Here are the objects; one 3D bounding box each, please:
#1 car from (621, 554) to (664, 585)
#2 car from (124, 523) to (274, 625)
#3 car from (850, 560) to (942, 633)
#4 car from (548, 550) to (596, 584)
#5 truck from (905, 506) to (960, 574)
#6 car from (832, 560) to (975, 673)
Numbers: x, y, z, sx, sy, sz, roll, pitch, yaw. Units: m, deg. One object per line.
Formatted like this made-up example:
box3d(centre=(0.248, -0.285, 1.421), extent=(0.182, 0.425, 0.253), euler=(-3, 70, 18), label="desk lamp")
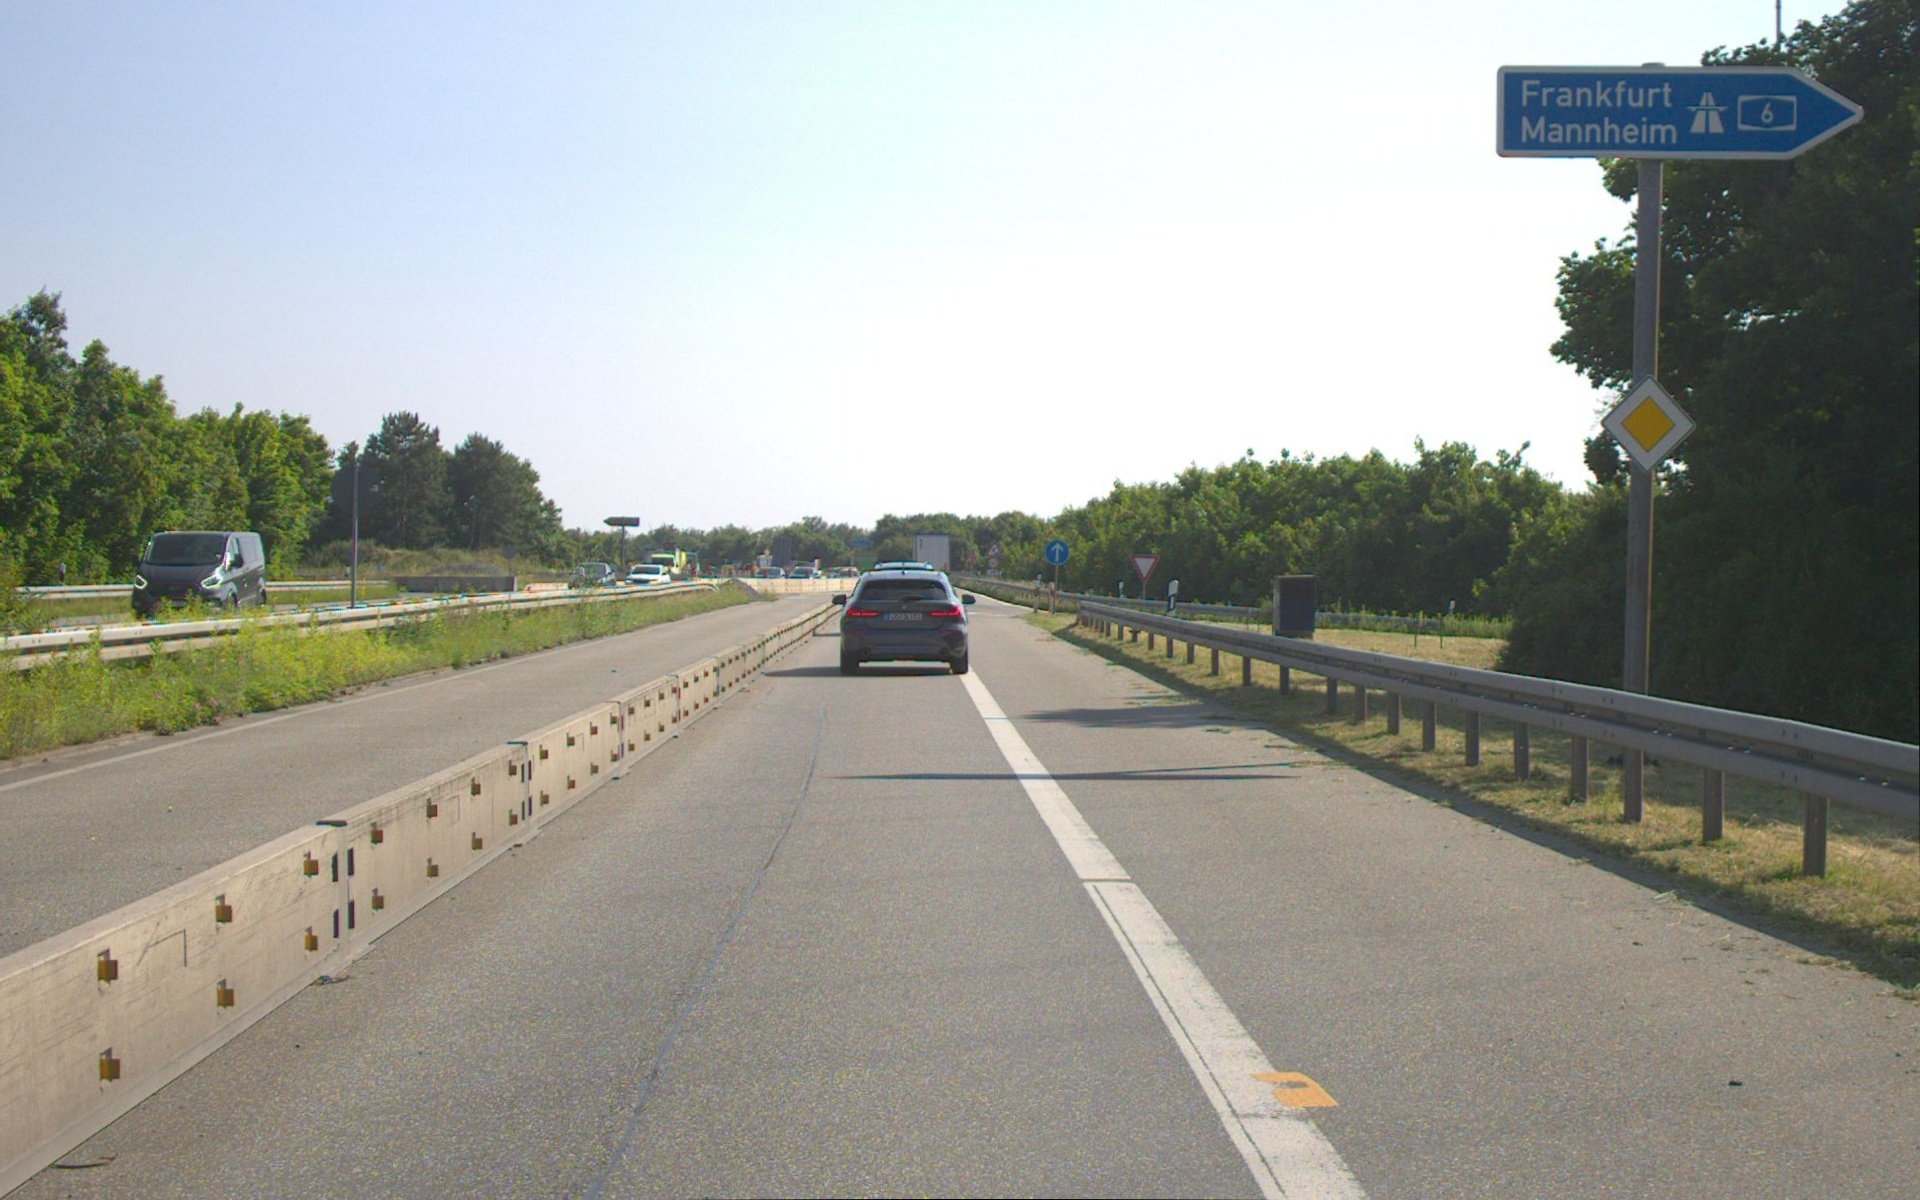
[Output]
box3d(centre=(-15.437, -1.492, 167.330), extent=(1.759, 1.465, 4.795), euler=(2, 1, -2), label="car")
box3d(centre=(-15.533, -0.559, 70.411), extent=(1.993, 2.027, 5.169), euler=(0, 1, -1), label="car")
box3d(centre=(-1.419, -0.092, 76.991), extent=(1.993, 1.561, 4.000), euler=(0, 1, 0), label="car")
box3d(centre=(-17.183, -1.467, 152.452), extent=(1.738, 1.489, 4.110), euler=(1, 1, -1), label="car")
box3d(centre=(-2.126, -4.515, 259.366), extent=(3.760, 4.894, 14.138), euler=(1, 1, -2), label="truck")
box3d(centre=(-0.848, 0.199, 48.734), extent=(1.920, 1.488, 4.000), euler=(-1, 1, -2), label="car")
